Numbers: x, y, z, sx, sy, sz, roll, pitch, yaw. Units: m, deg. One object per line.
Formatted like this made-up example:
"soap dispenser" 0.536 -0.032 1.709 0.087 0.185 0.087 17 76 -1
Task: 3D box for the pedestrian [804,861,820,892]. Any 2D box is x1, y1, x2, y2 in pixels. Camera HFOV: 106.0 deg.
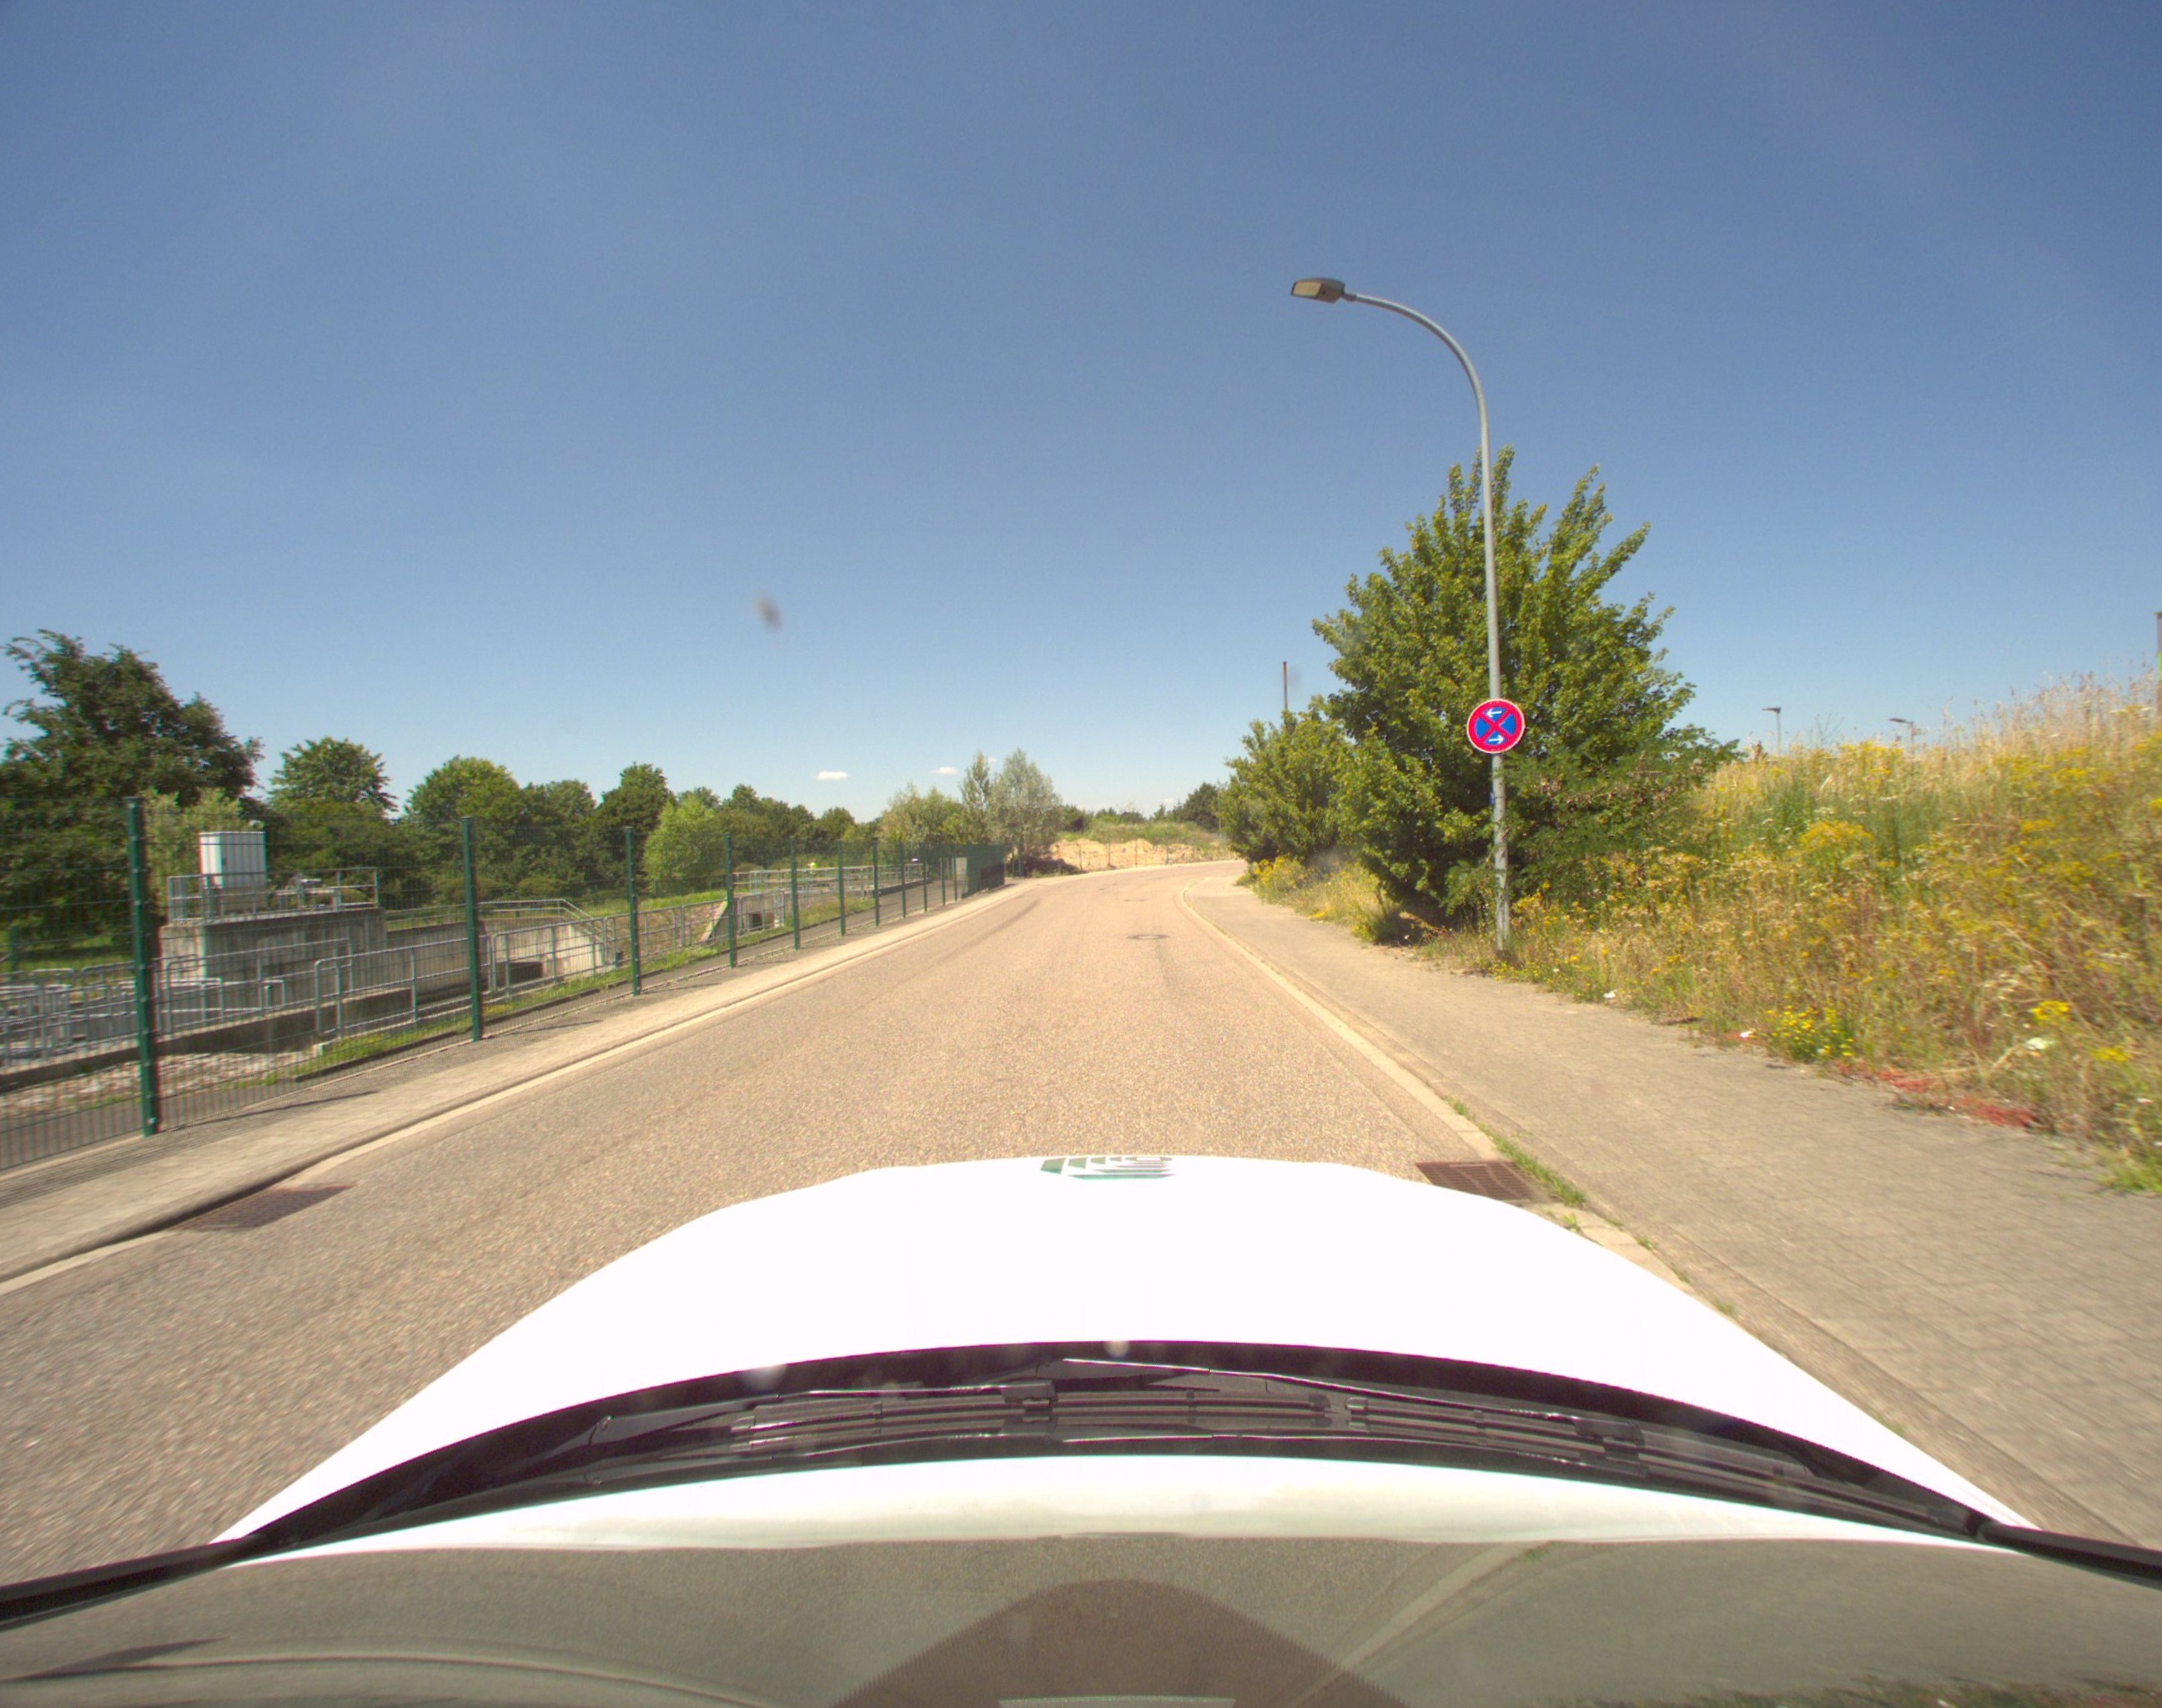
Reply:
"pedestrian" -16.309 1.363 49.362 0.603 1.839 0.805 -3 1 1
